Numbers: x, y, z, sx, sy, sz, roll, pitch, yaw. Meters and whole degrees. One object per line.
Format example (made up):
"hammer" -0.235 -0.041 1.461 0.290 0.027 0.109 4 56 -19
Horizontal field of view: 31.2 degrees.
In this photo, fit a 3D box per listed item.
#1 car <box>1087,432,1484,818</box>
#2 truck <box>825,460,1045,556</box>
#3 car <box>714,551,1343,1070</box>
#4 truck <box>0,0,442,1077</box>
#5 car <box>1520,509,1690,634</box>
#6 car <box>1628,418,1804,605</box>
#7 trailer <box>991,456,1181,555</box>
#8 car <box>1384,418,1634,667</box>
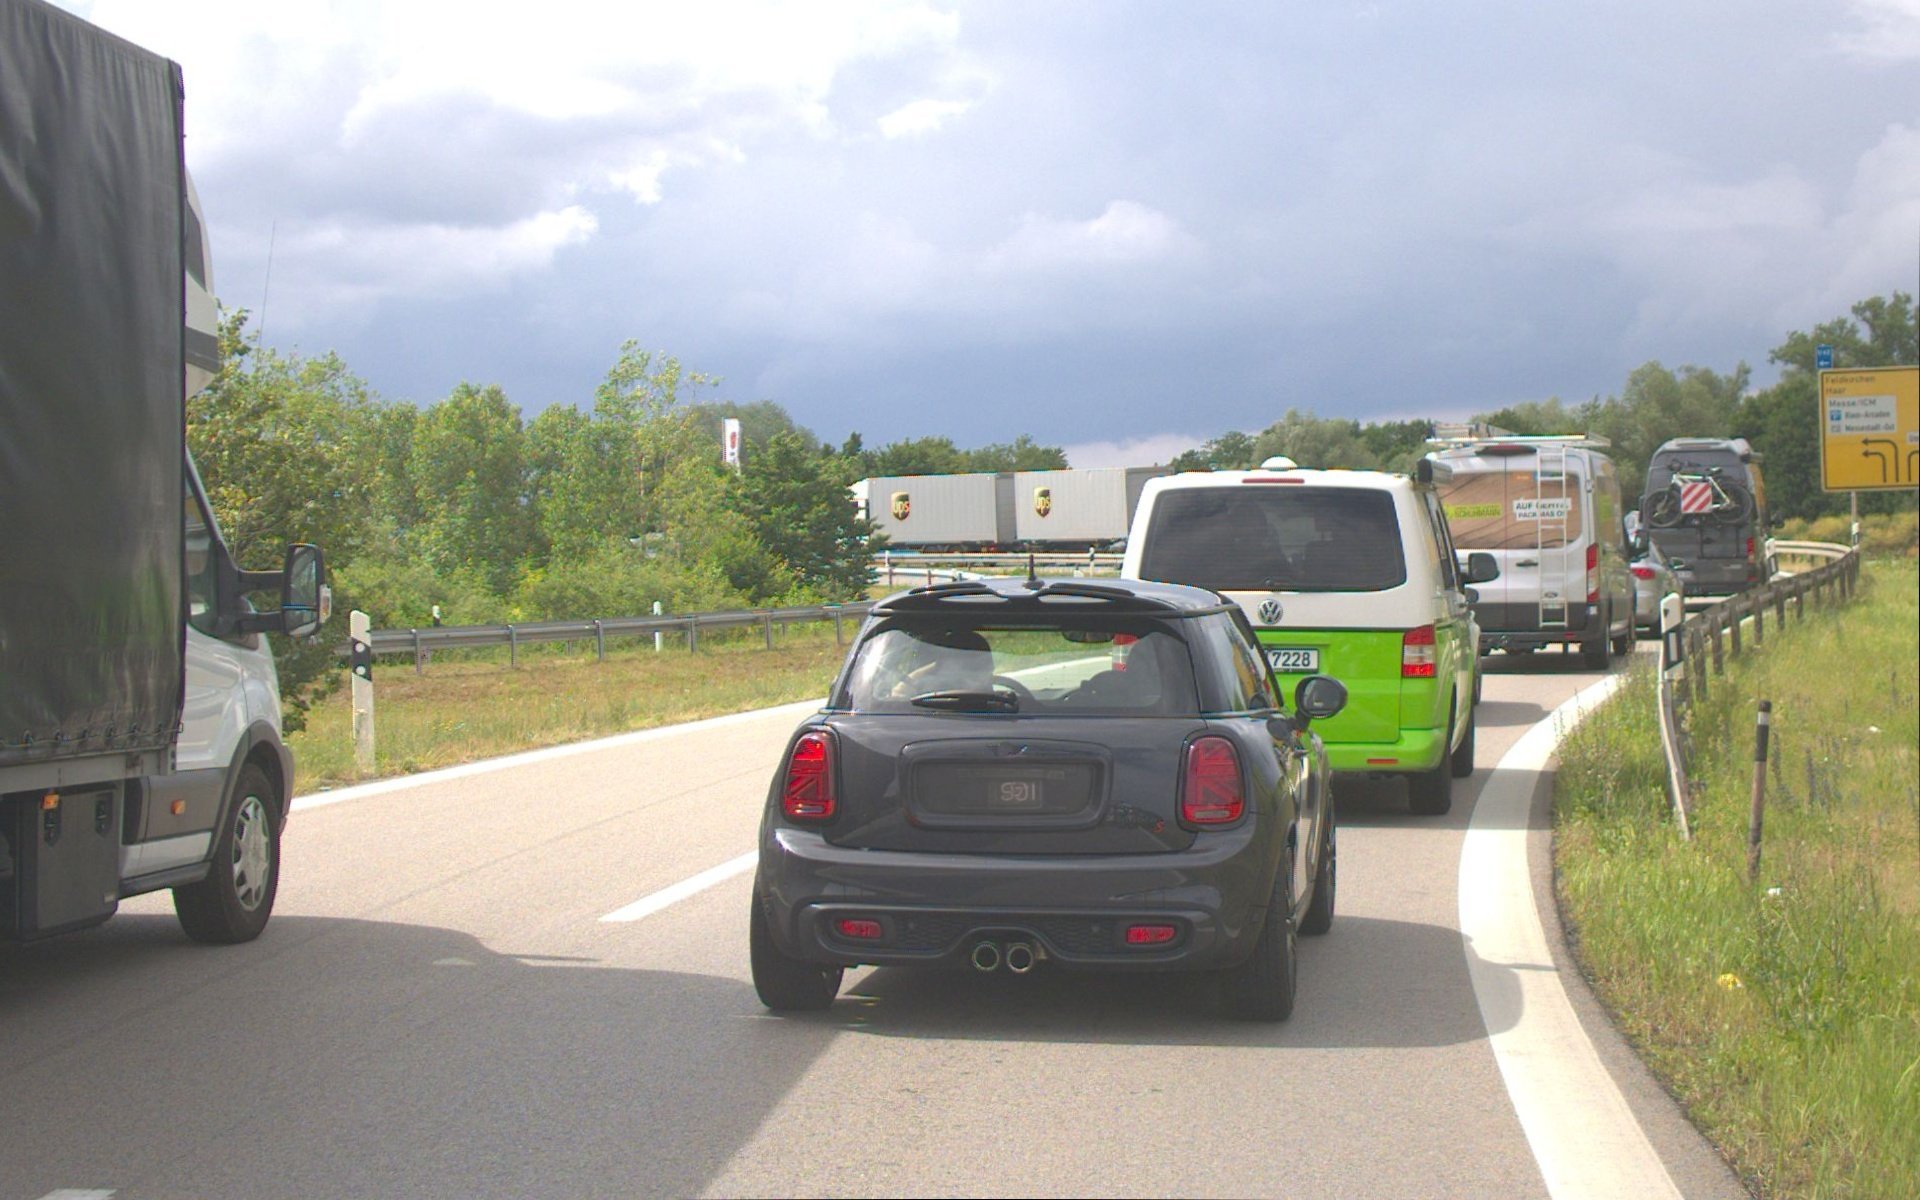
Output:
"car" 2.039 0.105 20.416 1.912 2.038 4.179 0 1 12
"truck" -1.140 -3.905 147.763 10.021 3.962 2.838 1 0 41
"car" 0.401 0.604 12.286 1.800 1.541 3.737 0 1 8
"truck" -3.882 -0.245 10.707 2.561 3.157 7.466 1 0 7
"car" 8.955 -0.393 47.493 1.995 1.636 3.926 1 0 15
"car" 13.212 -1.465 59.776 2.313 3.058 6.656 1 0 18
"trailer" 5.099 -3.826 140.993 3.036 3.884 8.771 1 0 -35
"car" 6.315 -0.628 38.998 2.213 2.613 5.530 1 0 15
